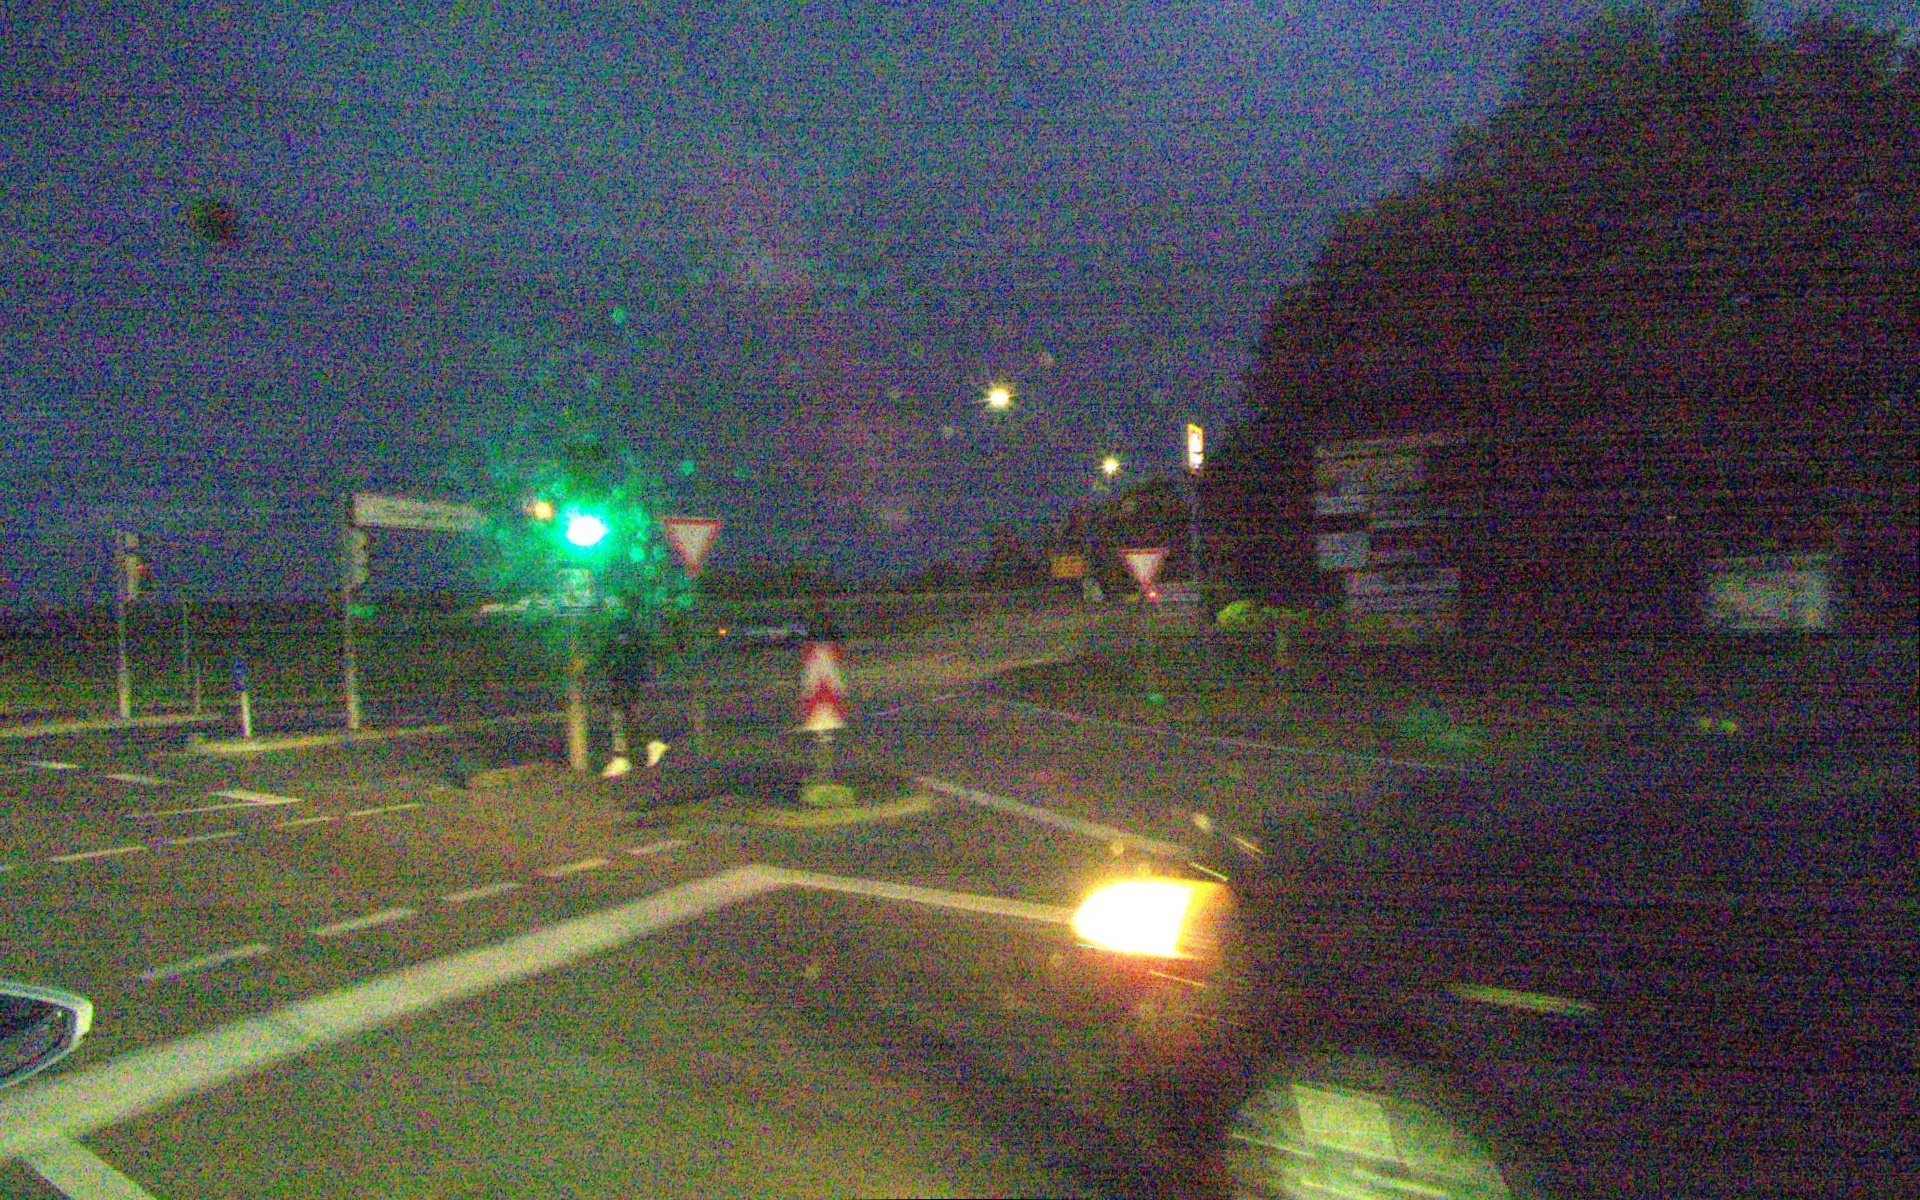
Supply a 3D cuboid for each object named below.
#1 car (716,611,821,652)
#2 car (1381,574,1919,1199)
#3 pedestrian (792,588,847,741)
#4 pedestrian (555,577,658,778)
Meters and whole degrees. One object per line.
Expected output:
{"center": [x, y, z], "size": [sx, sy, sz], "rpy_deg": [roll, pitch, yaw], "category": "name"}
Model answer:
{"center": [-8.813, 1.448, 46.239], "size": [4.390, 1.686, 2.000], "rpy_deg": [-2, 0, 1], "category": "car"}
{"center": [2.871, 0.710, 1.765], "size": [3.664, 1.556, 1.655], "rpy_deg": [-3, -2, 33], "category": "car"}
{"center": [-1.927, 0.877, 13.792], "size": [0.700, 2.039, 0.781], "rpy_deg": [-1, -2, -6], "category": "pedestrian"}
{"center": [-3.770, 0.810, 10.703], "size": [0.704, 2.039, 0.776], "rpy_deg": [-2, -2, 33], "category": "pedestrian"}
